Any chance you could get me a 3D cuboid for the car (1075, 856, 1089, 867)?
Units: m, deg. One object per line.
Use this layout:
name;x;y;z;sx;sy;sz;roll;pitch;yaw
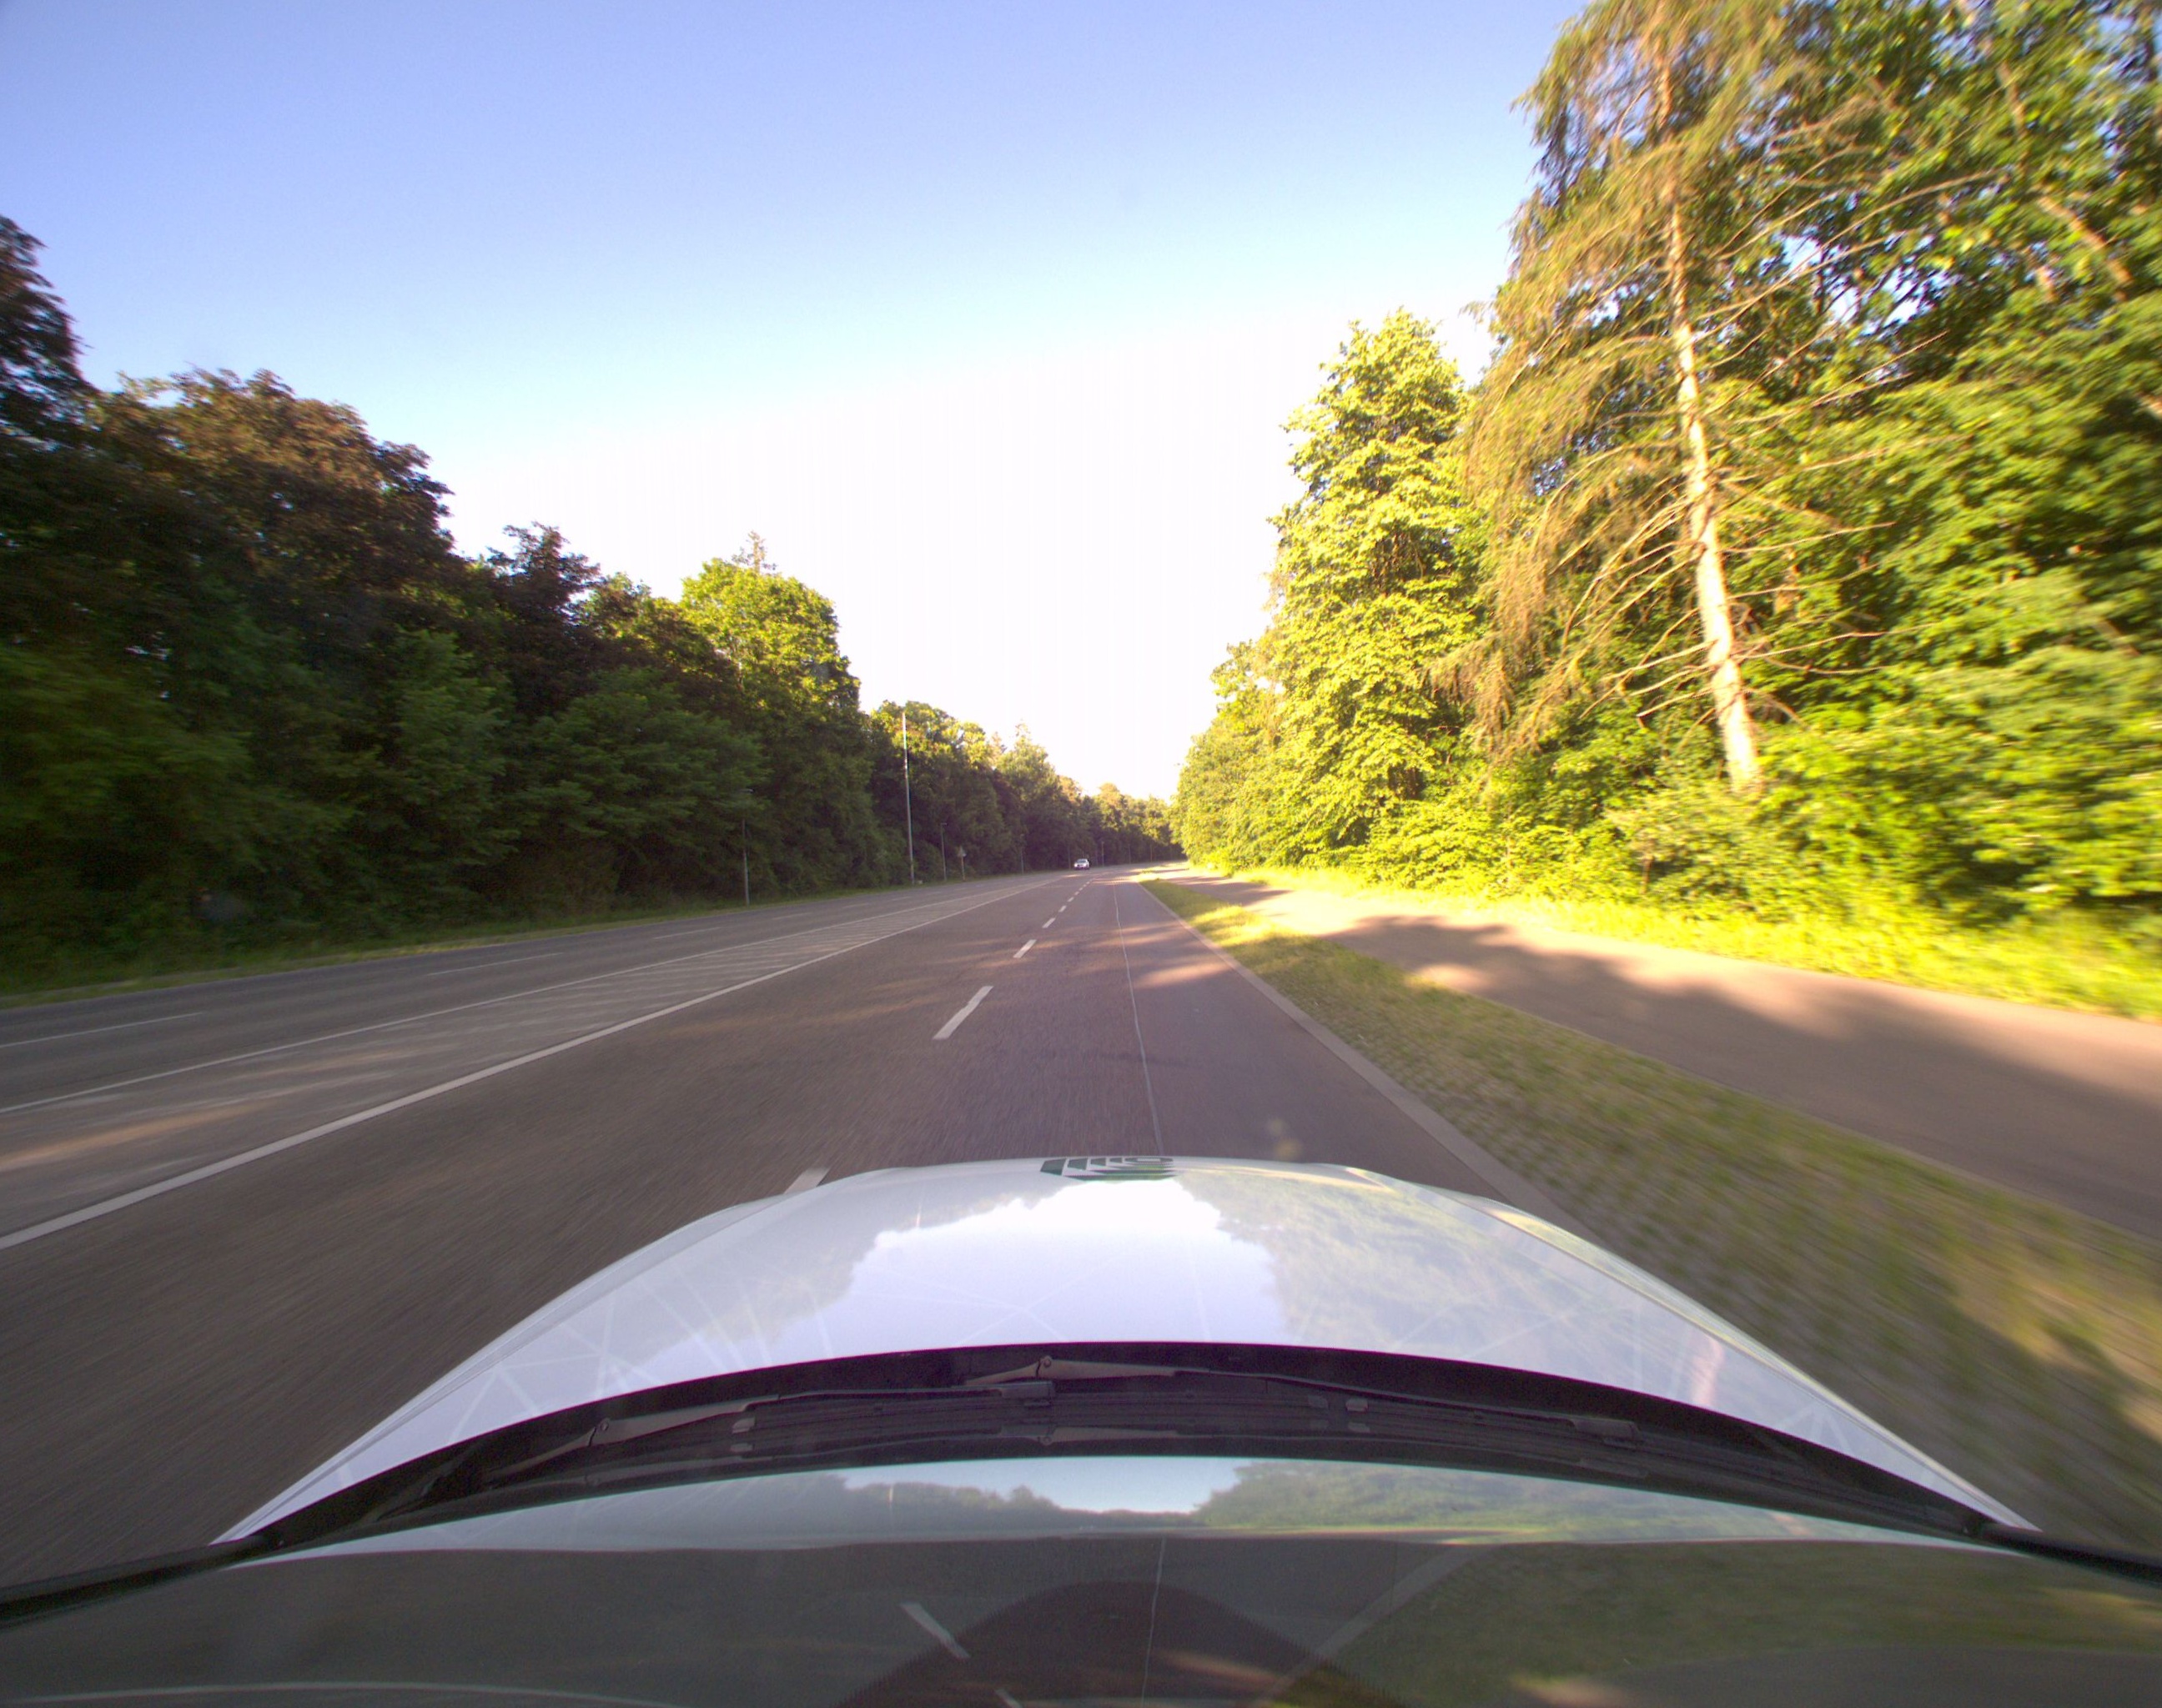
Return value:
car;0.158;1.105;125.452;1.900;1.664;4.736;-2;0;2
